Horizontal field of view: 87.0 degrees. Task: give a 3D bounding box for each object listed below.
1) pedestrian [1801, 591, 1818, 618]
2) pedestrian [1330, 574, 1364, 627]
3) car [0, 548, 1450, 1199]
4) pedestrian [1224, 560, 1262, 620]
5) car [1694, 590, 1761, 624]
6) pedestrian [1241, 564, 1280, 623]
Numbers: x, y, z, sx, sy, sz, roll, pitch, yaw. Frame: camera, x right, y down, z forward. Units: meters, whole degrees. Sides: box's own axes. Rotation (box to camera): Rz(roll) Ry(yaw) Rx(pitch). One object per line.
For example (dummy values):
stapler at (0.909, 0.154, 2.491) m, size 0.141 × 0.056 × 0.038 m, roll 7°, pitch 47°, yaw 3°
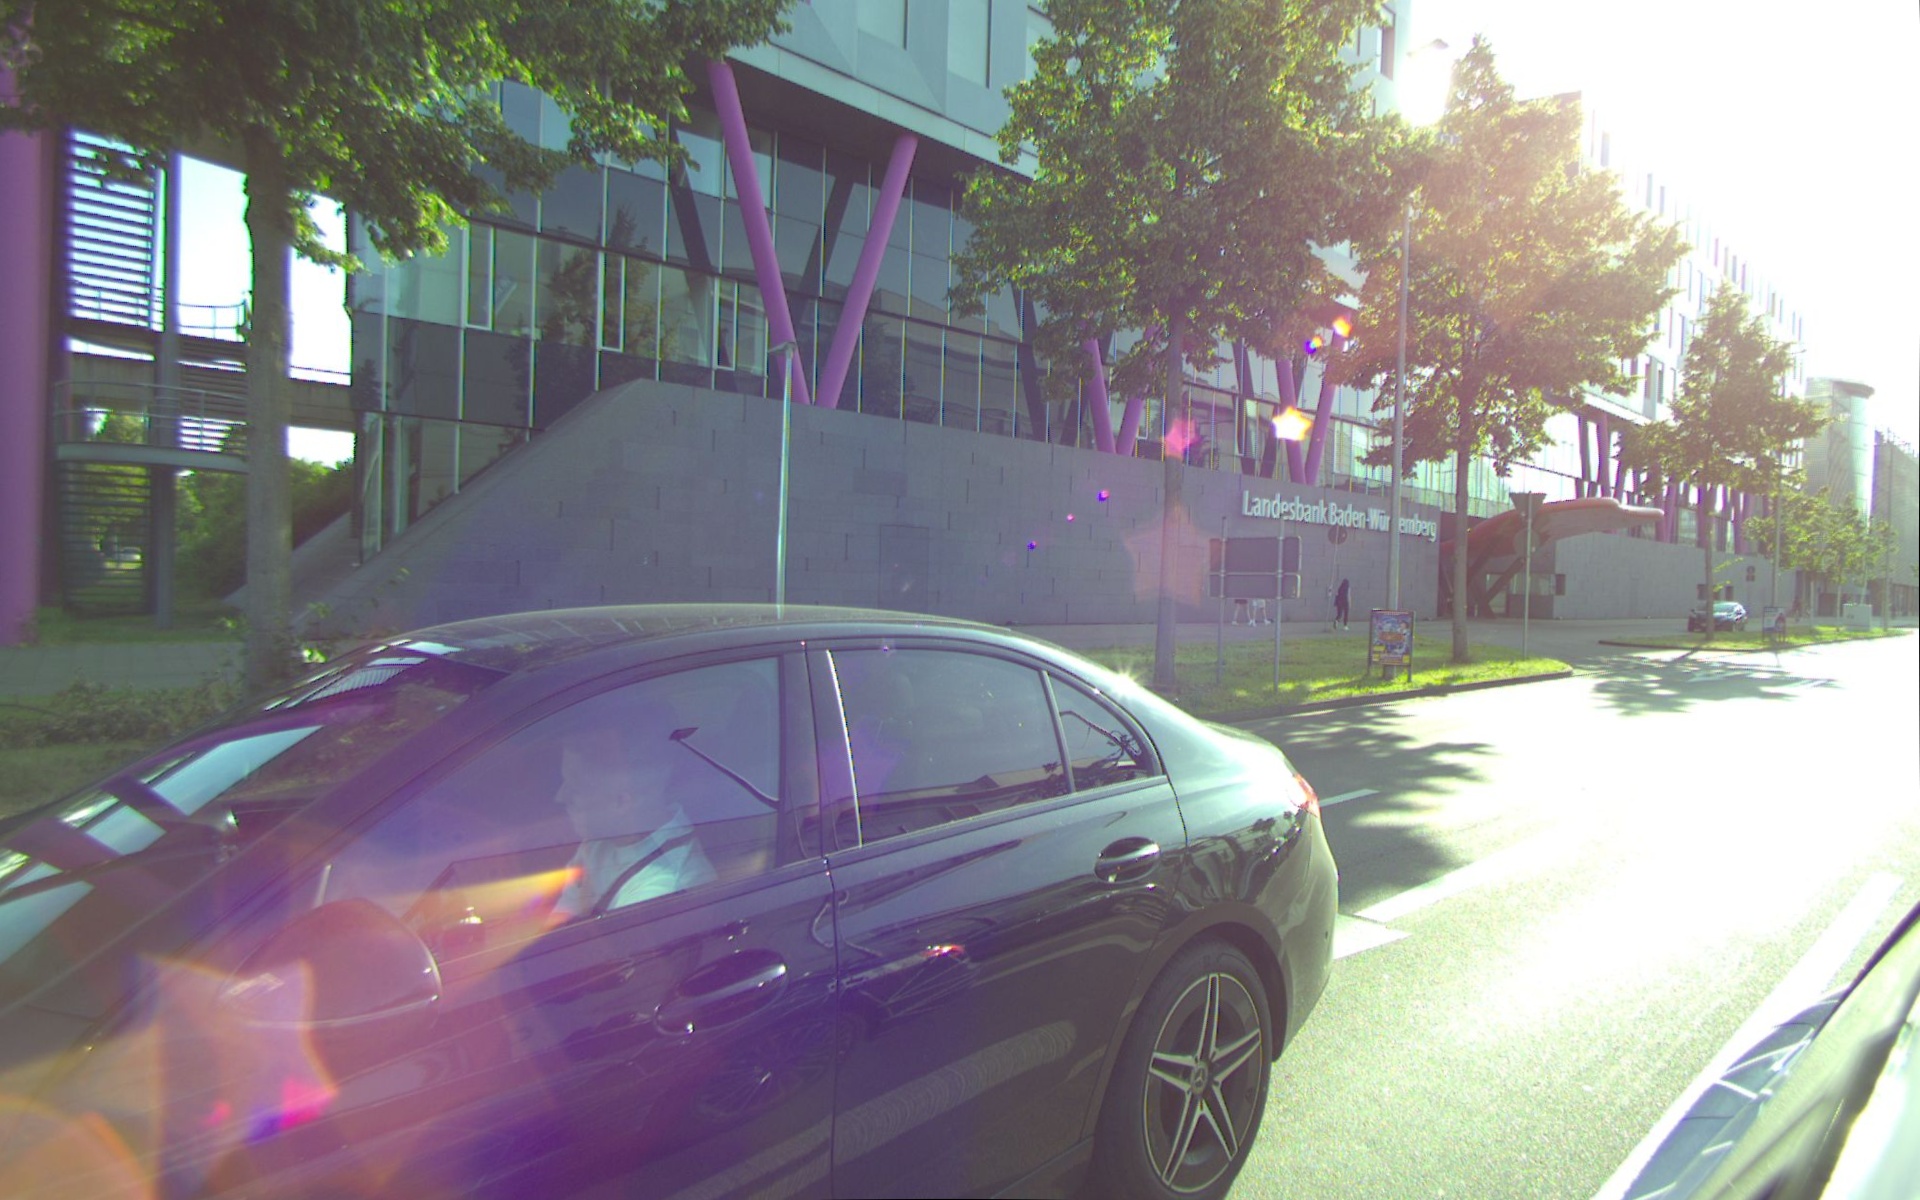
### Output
pedestrian at (59.041, 0.307, 70.343) m, size 0.758 × 1.808 × 0.725 m, roll 0°, pitch 1°, yaw -41°
pedestrian at (12.386, 0.010, 32.417) m, size 0.724 × 1.659 × 0.695 m, roll 1°, pitch 1°, yaw -41°
car at (-0.917, 0.677, 2.209) m, size 4.473 × 1.468 × 1.843 m, roll 1°, pitch 0°, yaw -39°
pedestrian at (9.061, -0.315, 32.431) m, size 0.838 × 1.847 × 0.769 m, roll 1°, pitch 3°, yaw -41°
car at (34.831, 0.320, 45.892) m, size 4.126 × 1.407 × 1.694 m, roll 1°, pitch 1°, yaw -42°
pedestrian at (9.518, -0.222, 32.047) m, size 0.829 × 1.815 × 0.756 m, roll 1°, pitch 3°, yaw -41°
